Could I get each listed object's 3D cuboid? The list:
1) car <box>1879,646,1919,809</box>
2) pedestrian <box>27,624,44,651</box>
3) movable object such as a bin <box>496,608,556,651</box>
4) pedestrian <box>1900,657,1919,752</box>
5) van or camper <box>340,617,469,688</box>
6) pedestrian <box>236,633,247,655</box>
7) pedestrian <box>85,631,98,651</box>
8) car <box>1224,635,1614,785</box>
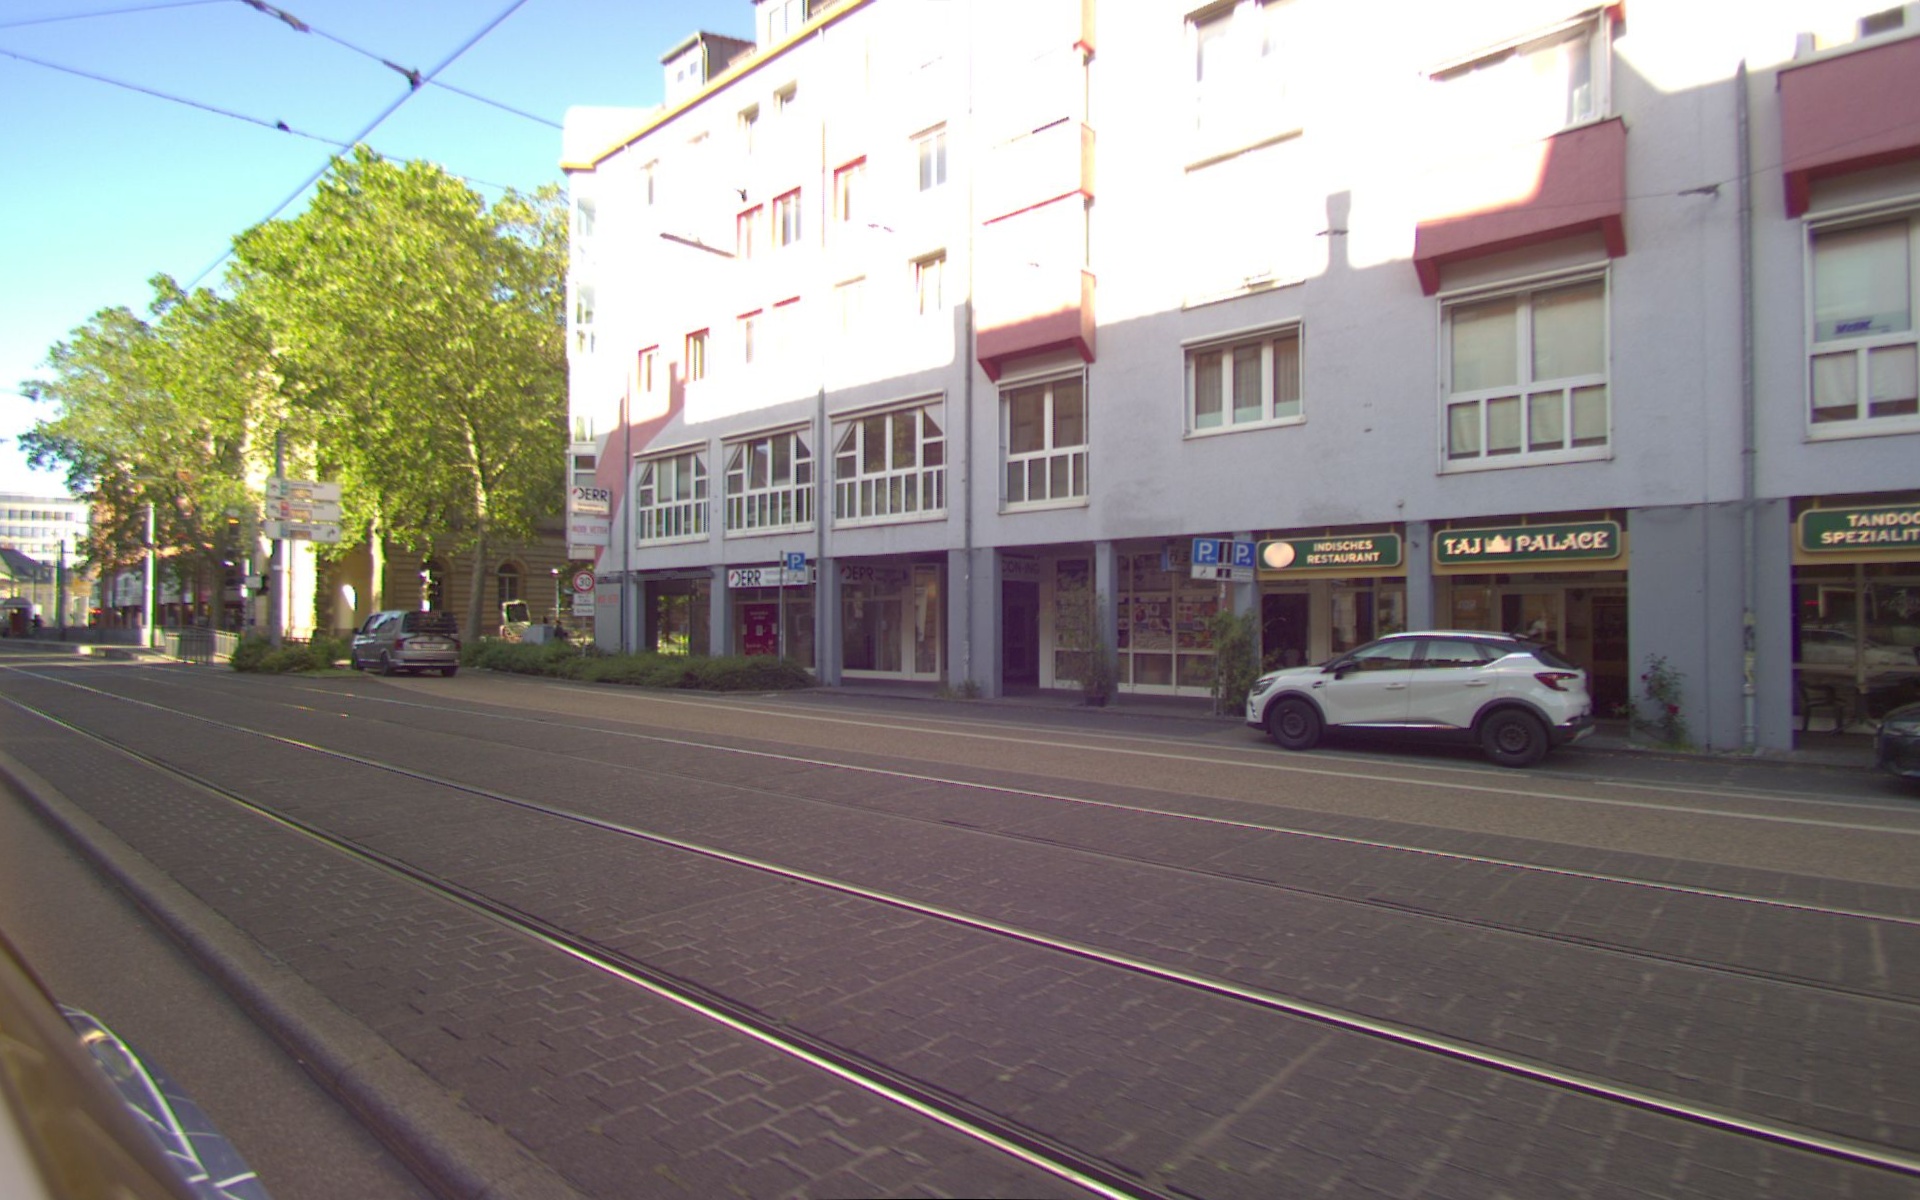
[{"bbox_3d":[11.167,1.175,8.638,4.823,1.469,1.882,-1,-2,41],"label":"car"},{"bbox_3d":[-58.166,2.365,63.654,1.033,1.680,0.688,-2,-2,42],"label":"pedestrian"},{"bbox_3d":[-20.826,1.405,48.569,2.604,2.029,1.179,1,-2,-25],"label":"movable object such as a bin"},{"bbox_3d":[12.649,1.349,13.004,0.779,1.196,0.665,-1,-2,40],"label":"pedestrian"},{"bbox_3d":[-16.607,1.548,30.149,4.836,1.955,1.971,-1,-4,44],"label":"van or camper"},{"bbox_3d":[-52.304,3.214,73.680,0.474,1.541,0.577,-1,-2,42],"label":"pedestrian"},{"bbox_3d":[-81.420,3.836,94.886,0.665,1.931,0.781,-2,-2,40],"label":"pedestrian"},{"bbox_3d":[5.936,1.298,13.372,4.365,1.626,1.898,-1,-2,39],"label":"car"}]
